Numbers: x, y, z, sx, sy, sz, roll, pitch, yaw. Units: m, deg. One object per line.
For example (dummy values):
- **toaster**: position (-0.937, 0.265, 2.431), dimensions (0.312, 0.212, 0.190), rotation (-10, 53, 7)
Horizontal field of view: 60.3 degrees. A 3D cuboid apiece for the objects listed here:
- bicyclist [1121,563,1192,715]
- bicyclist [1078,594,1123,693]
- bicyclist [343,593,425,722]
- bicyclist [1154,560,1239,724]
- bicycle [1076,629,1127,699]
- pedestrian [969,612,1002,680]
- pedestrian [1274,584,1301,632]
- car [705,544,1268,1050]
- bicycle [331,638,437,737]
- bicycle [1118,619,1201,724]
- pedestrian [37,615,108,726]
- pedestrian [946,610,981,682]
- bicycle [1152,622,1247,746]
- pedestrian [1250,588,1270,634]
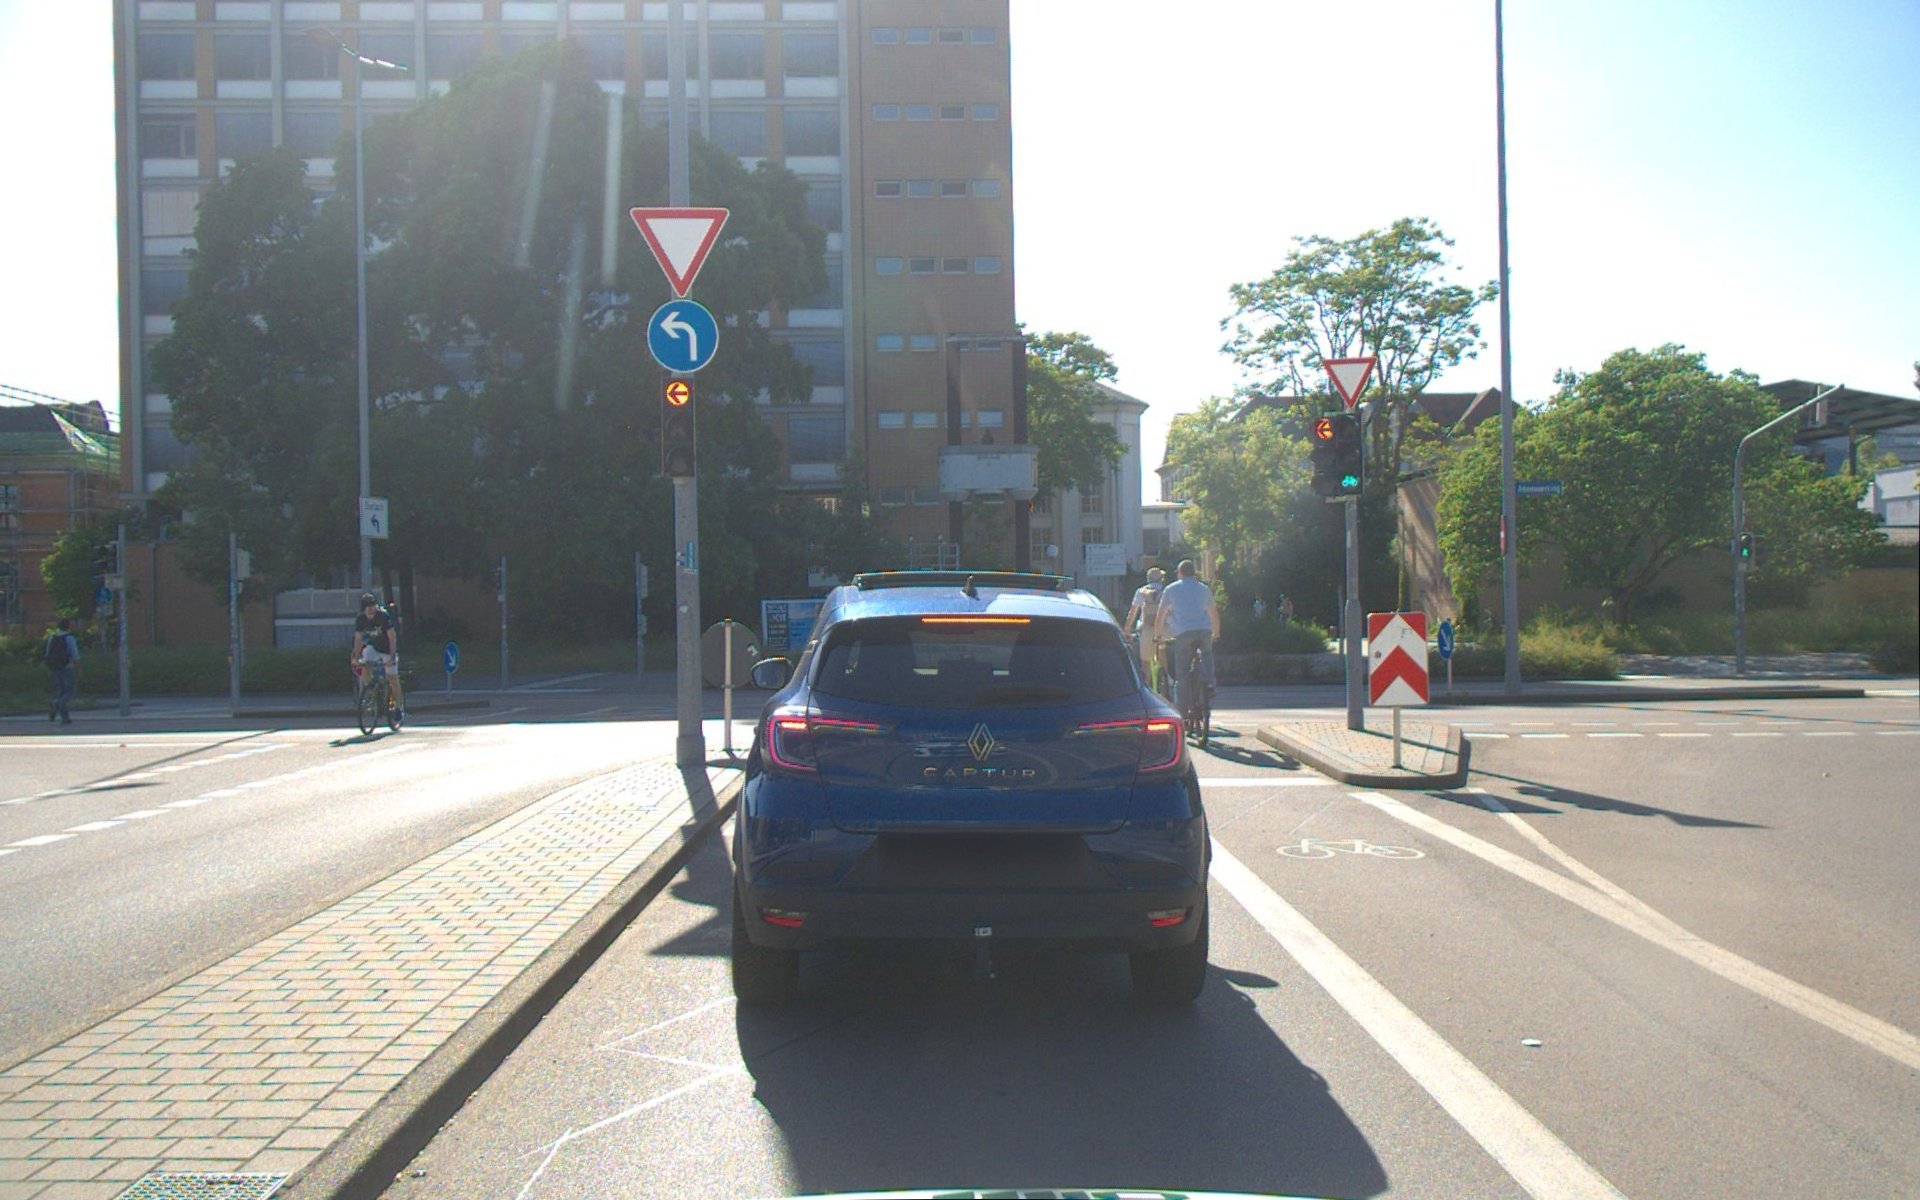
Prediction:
- **bicyclist**: position (2.395, 0.462, 20.217), dimensions (0.705, 1.793, 0.977), rotation (-1, 0, -1)
- **bicyclist**: position (2.574, 0.788, 30.407), dimensions (0.705, 1.765, 0.977), rotation (-1, 0, -1)
- **bicyclist**: position (-7.633, 0.750, 21.957), dimensions (0.705, 1.649, 0.977), rotation (-2, 0, -1)
- **bicyclist**: position (2.455, 0.425, 17.251), dimensions (0.705, 1.645, 0.977), rotation (-1, 0, -1)
- **bicycle**: position (2.577, 1.156, 30.382), dimensions (0.731, 1.185, 1.870), rotation (-1, 0, -1)
- **pedestrian**: position (0.690, 1.241, 44.757), dimensions (0.718, 1.813, 0.732), rotation (1, -1, 16)
- **pedestrian**: position (11.461, 0.290, 57.878), dimensions (0.664, 1.672, 0.733), rotation (1, -1, 36)
- **car**: position (0.065, 0.658, 7.391), dimensions (1.838, 1.646, 3.797), rotation (1, 0, -1)
- **bicycle**: position (-7.622, 1.132, 21.971), dimensions (0.731, 1.185, 1.870), rotation (-2, 0, -1)
- **bicycle**: position (2.405, 0.837, 20.143), dimensions (0.731, 1.185, 1.870), rotation (-1, 0, -1)
- **pedestrian**: position (-15.317, 1.203, 28.560), dimensions (0.740, 1.865, 1.093), rotation (-1, -2, -9)
- **pedestrian**: position (0.097, 1.208, 43.677), dimensions (0.718, 1.848, 0.732), rotation (1, -1, 16)
- **bicycle**: position (2.466, 0.836, 17.200), dimensions (0.701, 1.185, 1.870), rotation (-1, 0, 0)
- **pedestrian**: position (11.154, 0.402, 61.534), dimensions (0.661, 1.672, 0.736), rotation (1, -1, 13)
